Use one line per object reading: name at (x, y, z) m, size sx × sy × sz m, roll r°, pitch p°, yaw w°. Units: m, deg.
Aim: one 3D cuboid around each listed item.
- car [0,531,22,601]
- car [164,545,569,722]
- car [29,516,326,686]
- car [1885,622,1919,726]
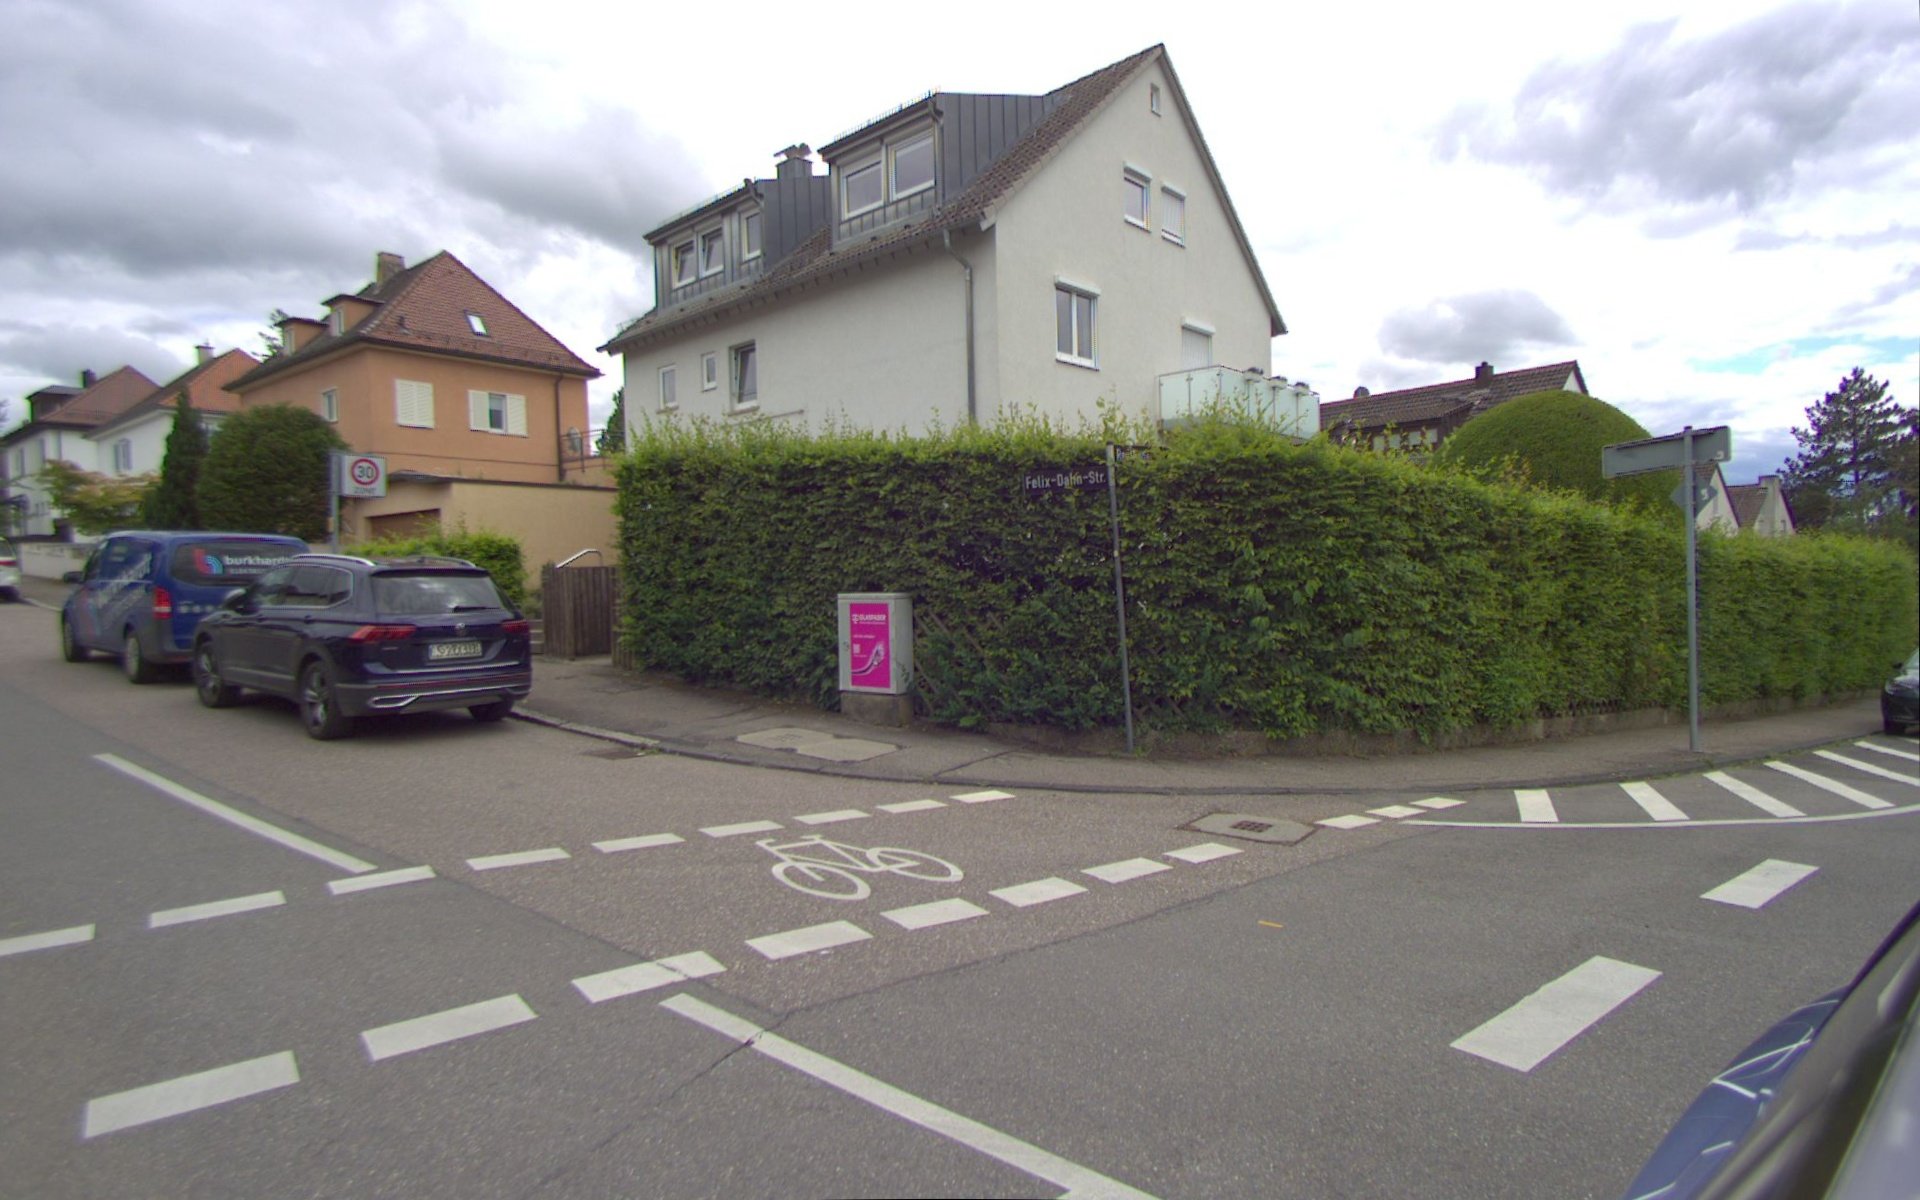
car at (-24.838, -0.871, 24.788) m, size 4.110 × 1.660 × 1.864 m, roll 2°, pitch 1°, yaw 34°
car at (-6.336, 0.240, 10.634) m, size 4.491 × 1.453 × 1.974 m, roll 3°, pitch 0°, yaw 35°
car at (-10.813, -0.123, 13.887) m, size 4.703 × 1.980 × 1.865 m, roll 3°, pitch 4°, yaw 34°
car at (15.958, 1.151, 15.600) m, size 4.298 × 1.507 × 1.795 m, roll 2°, pitch 0°, yaw -38°
